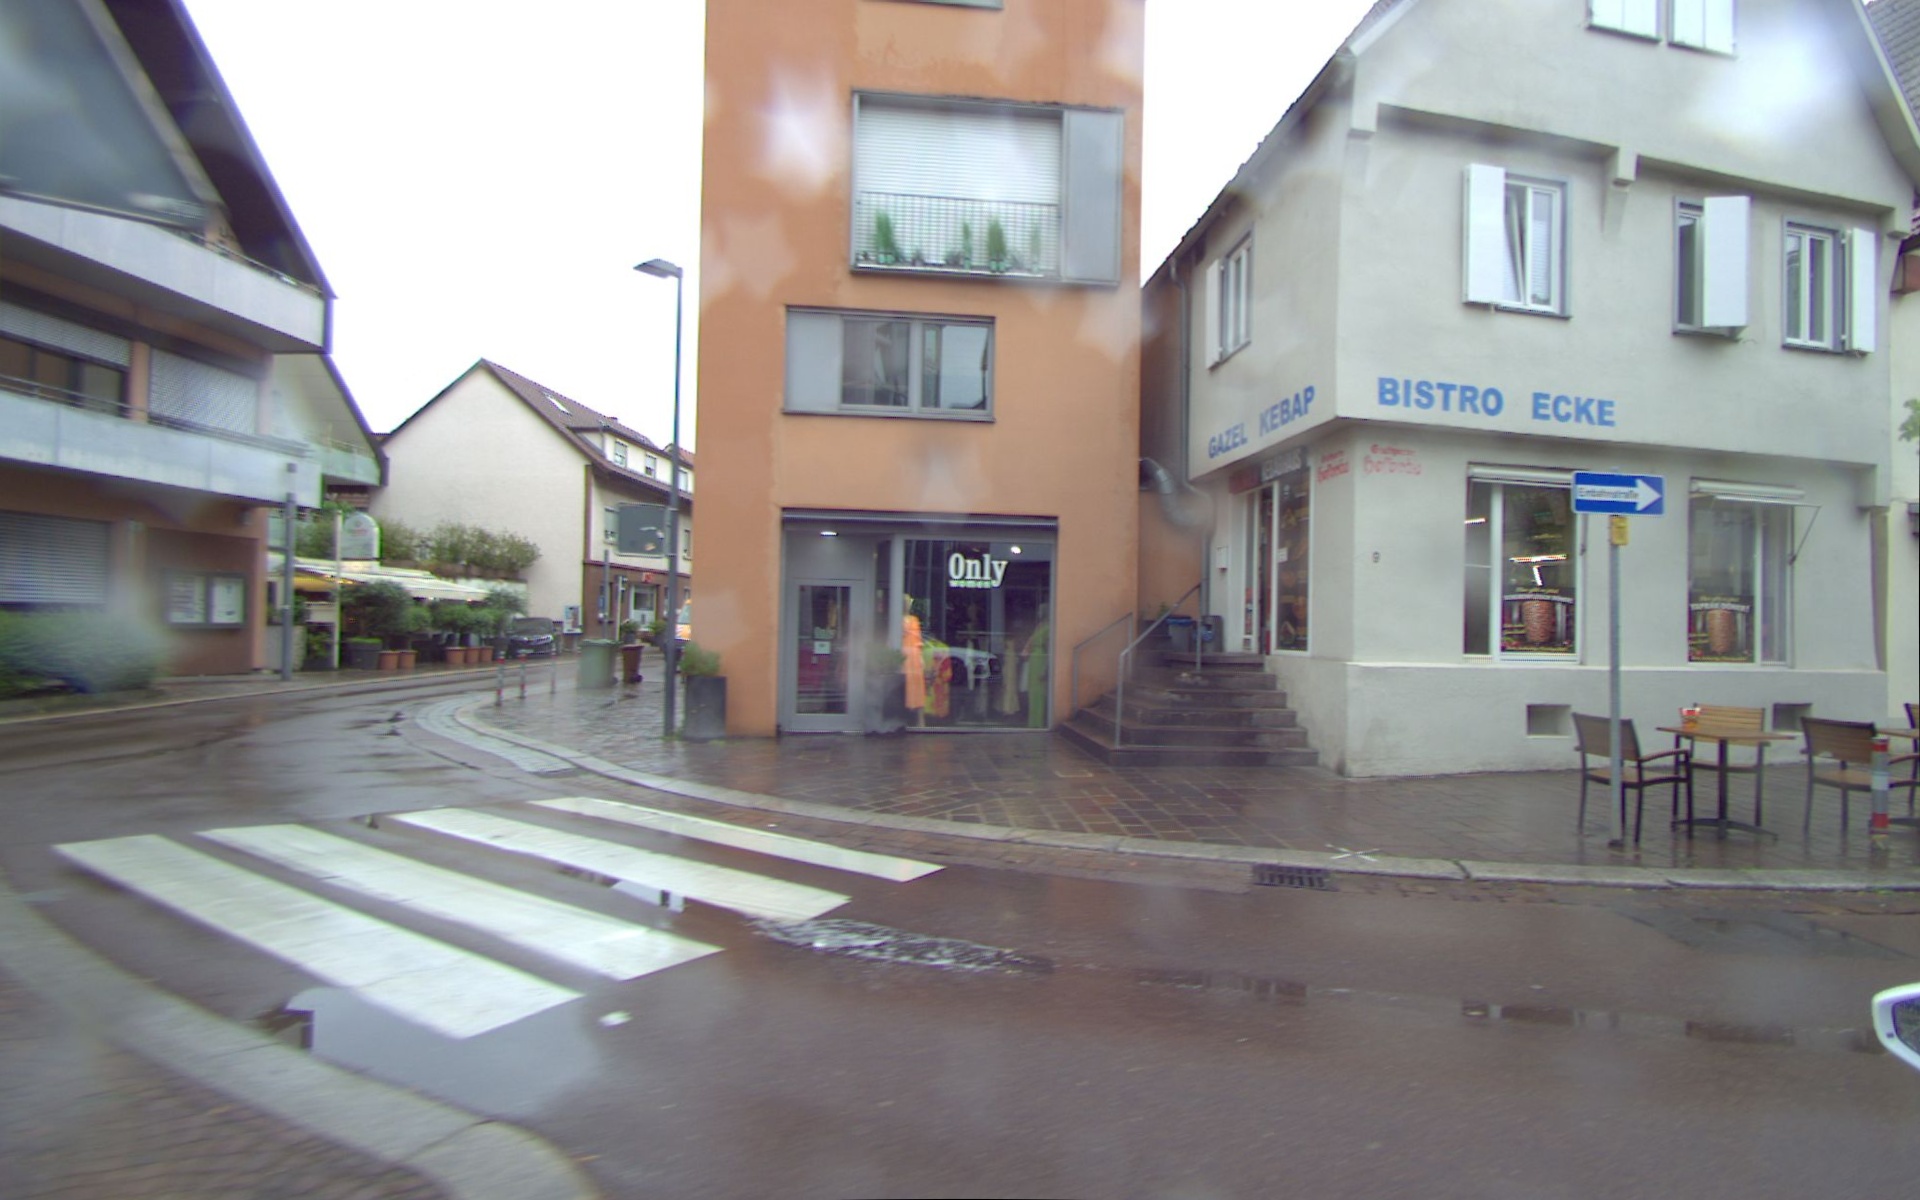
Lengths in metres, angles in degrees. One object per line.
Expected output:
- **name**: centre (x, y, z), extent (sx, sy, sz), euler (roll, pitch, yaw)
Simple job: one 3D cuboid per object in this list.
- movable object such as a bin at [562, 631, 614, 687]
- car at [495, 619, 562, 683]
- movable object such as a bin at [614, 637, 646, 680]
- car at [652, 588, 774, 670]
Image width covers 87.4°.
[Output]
- **movable object such as a bin**: centre (-8.335, 1.318, 22.544), extent (0.933, 1.174, 0.773), euler (3, -1, -13)
- **car**: centre (-15.269, 1.756, 35.482), extent (1.973, 2.040, 3.834), euler (3, -1, -25)
- **movable object such as a bin**: centre (-8.151, 1.435, 24.817), extent (0.642, 1.012, 0.585), euler (3, -1, -13)
- **car**: centre (-7.895, 0.930, 32.793), extent (2.167, 2.329, 5.963), euler (3, -1, 2)
